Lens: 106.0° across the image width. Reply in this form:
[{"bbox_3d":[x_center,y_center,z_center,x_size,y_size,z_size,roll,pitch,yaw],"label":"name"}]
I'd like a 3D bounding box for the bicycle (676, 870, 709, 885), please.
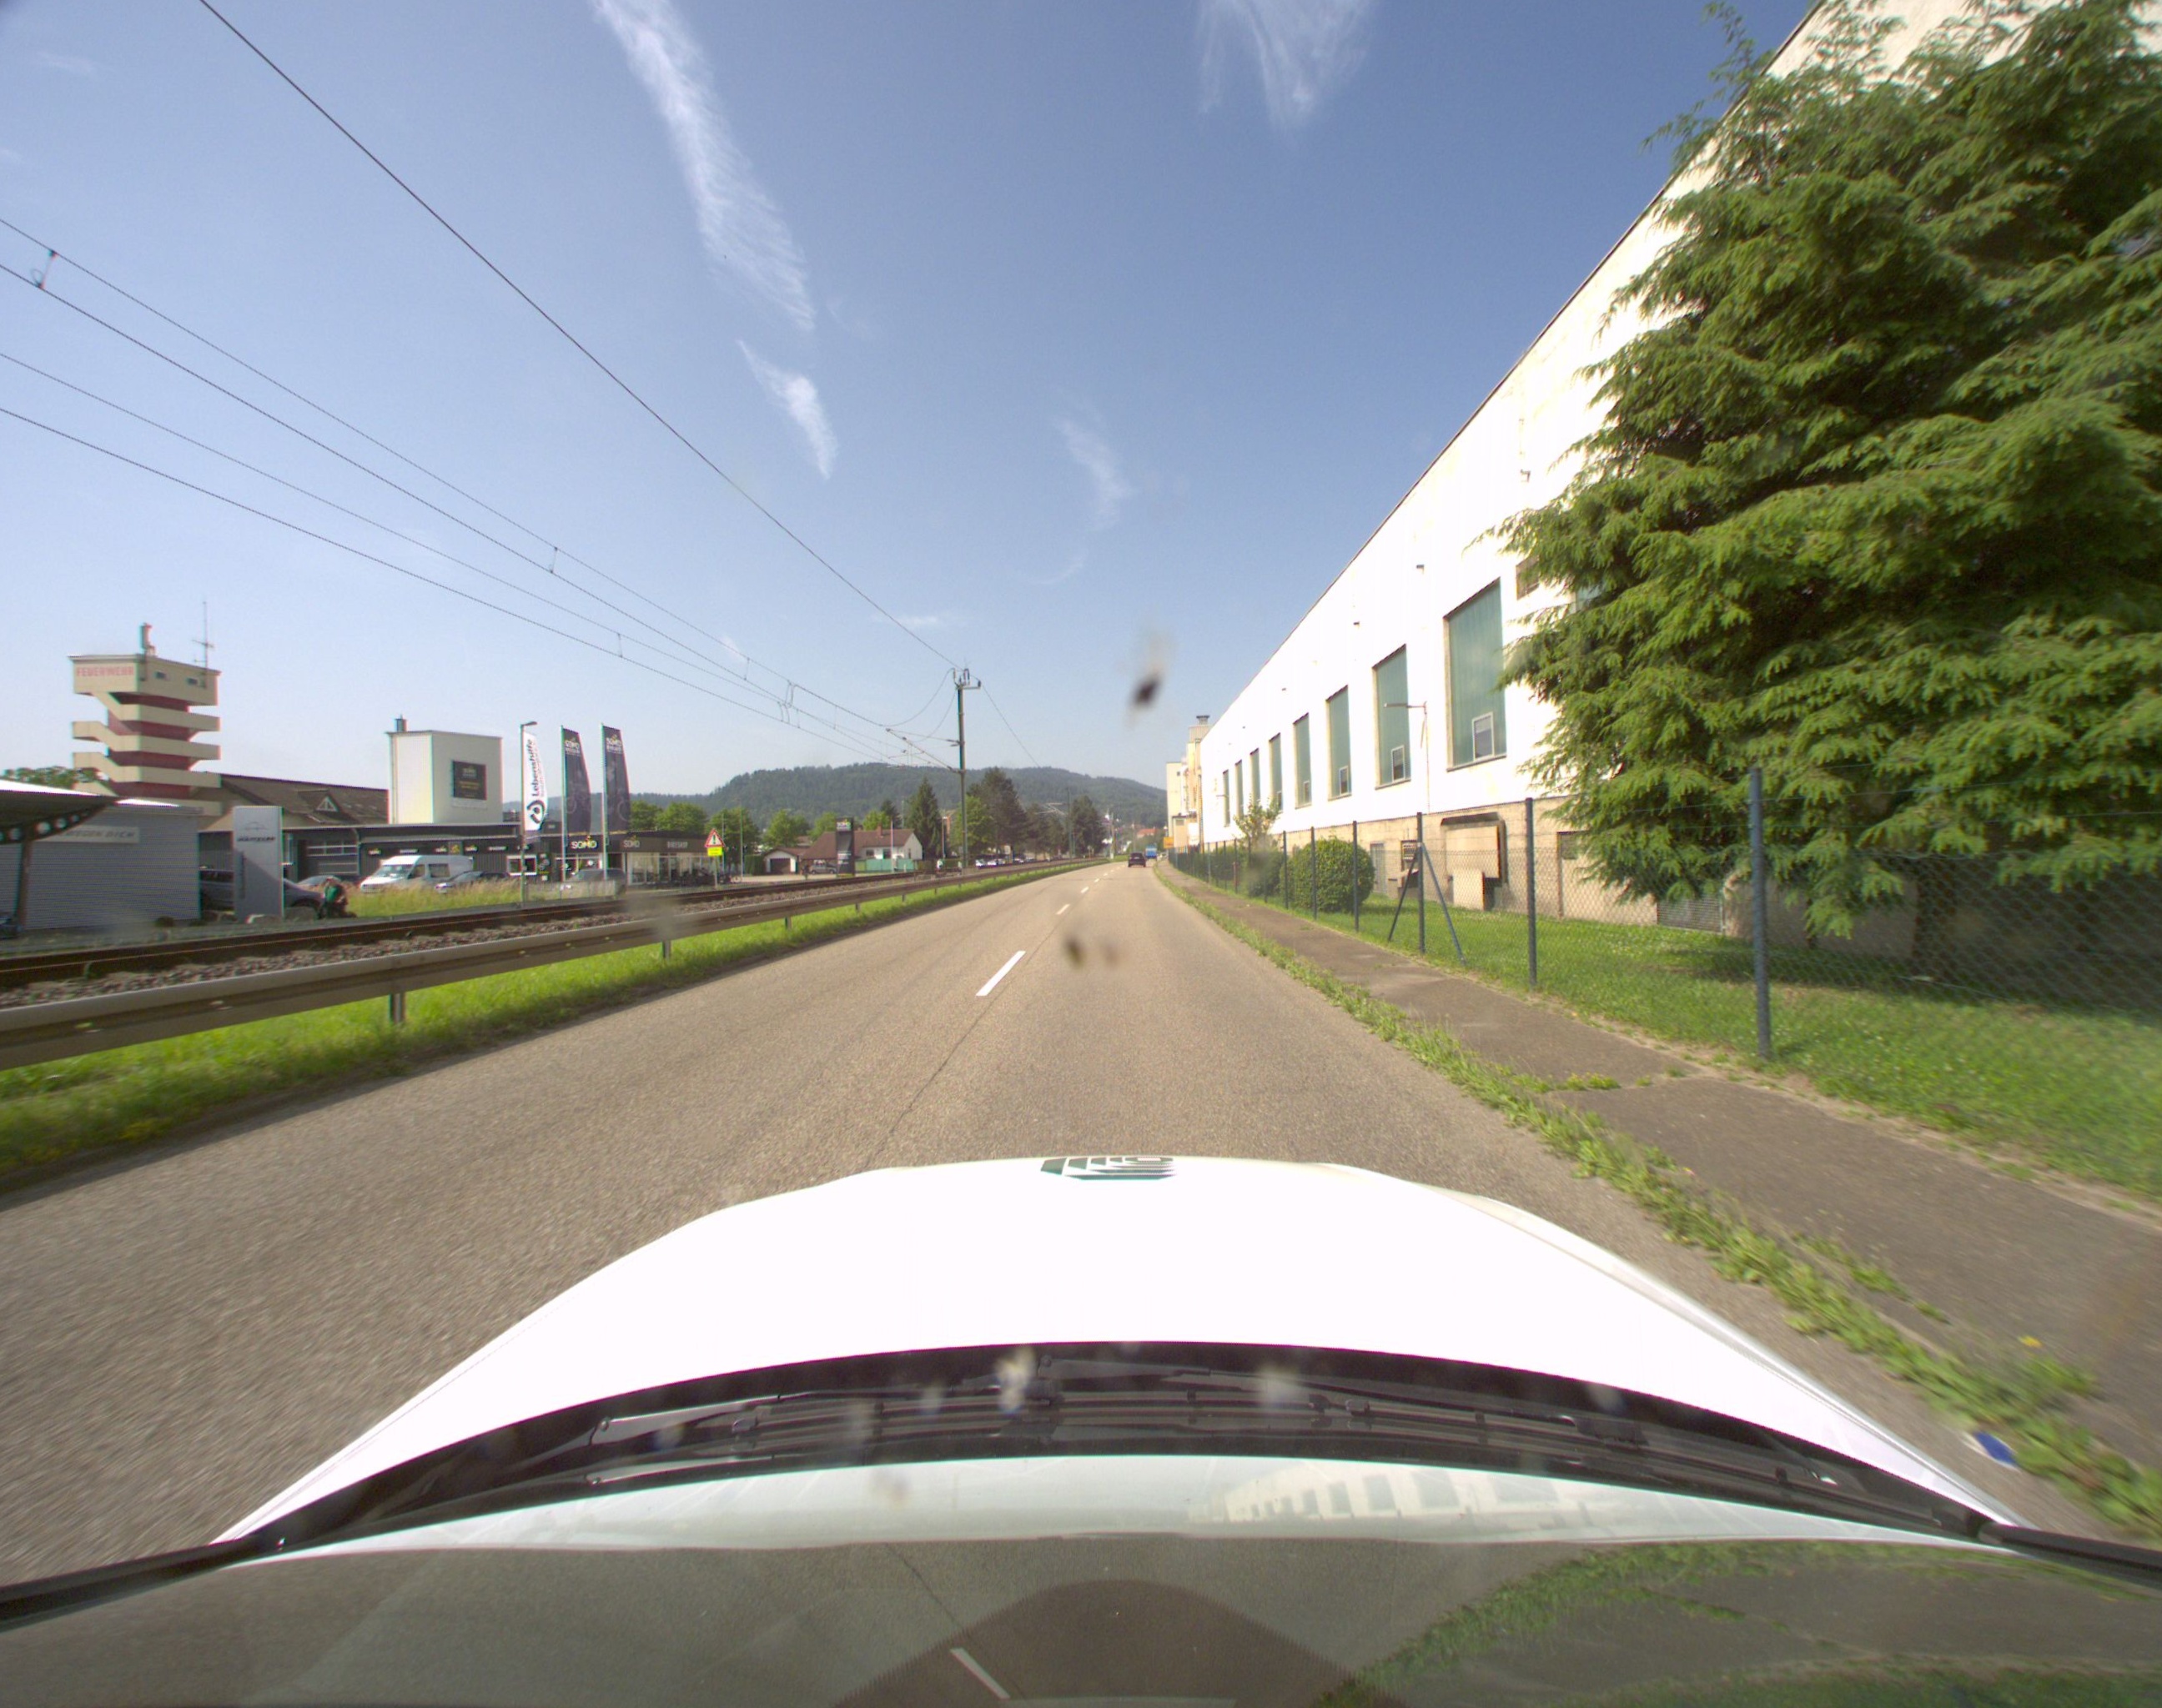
[{"bbox_3d":[-30.313,1.838,63.567,2.159,1.130,0.730,-2,-1,2],"label":"bicycle"}]

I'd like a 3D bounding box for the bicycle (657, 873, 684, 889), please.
[{"bbox_3d":[-30.616,1.989,60.777,0.724,1.130,2.177,-2,-1,5],"label":"bicycle"}]

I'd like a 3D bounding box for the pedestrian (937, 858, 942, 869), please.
[{"bbox_3d":[-17.901,1.176,103.021,0.572,1.332,0.673,-2,0,-2],"label":"pedestrian"}]

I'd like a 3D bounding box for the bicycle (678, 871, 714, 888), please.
[{"bbox_3d":[-28.818,1.892,60.963,0.721,1.130,2.337,-2,-1,37],"label":"bicycle"}]

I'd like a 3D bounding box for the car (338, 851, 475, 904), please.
[{"bbox_3d":[-36.868,1.315,44.844,2.365,2.633,6.160,-2,-2,1],"label":"car"}]

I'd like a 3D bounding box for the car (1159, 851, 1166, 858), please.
[{"bbox_3d":[22.501,0.084,225.258,1.657,1.823,3.760,-1,0,8],"label":"car"}]

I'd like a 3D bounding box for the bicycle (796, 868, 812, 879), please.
[{"bbox_3d":[-28.363,1.966,83.525,0.751,1.017,1.966,-2,0,6],"label":"bicycle"}]

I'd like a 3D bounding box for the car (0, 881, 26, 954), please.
[{"bbox_3d":[-26.786,1.464,17.999,1.642,1.622,4.055,1,0,44],"label":"car"}]

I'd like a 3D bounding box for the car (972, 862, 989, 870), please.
[{"bbox_3d":[-20.286,2.460,164.773,1.696,1.443,3.809,-2,-1,-37],"label":"car"}]

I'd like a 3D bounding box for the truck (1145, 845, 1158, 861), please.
[{"bbox_3d":[14.029,-0.247,161.832,2.301,2.970,5.974,-2,0,5],"label":"truck"}]

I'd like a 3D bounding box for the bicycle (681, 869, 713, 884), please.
[{"bbox_3d":[-30.412,1.755,64.529,2.165,1.130,0.728,-2,-1,-7],"label":"bicycle"}]

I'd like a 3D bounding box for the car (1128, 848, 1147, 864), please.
[{"bbox_3d":[6.033,0.223,87.399,1.911,1.640,4.004,-1,0,3],"label":"car"}]

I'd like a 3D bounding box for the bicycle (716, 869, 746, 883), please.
[{"bbox_3d":[-28.949,1.821,67.395,2.165,1.130,0.728,-2,-1,-7],"label":"bicycle"}]

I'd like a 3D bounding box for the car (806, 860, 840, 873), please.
[{"bbox_3d":[-34.224,1.644,108.182,3.817,1.651,1.715,-2,0,5],"label":"car"}]

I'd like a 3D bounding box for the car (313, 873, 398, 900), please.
[{"bbox_3d":[-41.440,1.817,46.613,1.508,1.357,3.524,-2,-1,3],"label":"car"}]

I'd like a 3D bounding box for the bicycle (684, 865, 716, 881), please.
[{"bbox_3d":[-30.505,1.524,65.305,2.165,1.130,0.728,-2,-1,-7],"label":"bicycle"}]

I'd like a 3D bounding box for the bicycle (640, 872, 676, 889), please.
[{"bbox_3d":[-30.254,1.907,58.255,2.159,1.130,0.730,-2,-1,2],"label":"bicycle"}]

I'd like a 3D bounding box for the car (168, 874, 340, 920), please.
[{"bbox_3d":[-29.606,1.553,29.330,4.014,1.530,1.508,4,-3,-33],"label":"car"}]

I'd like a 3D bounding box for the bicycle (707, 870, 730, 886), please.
[{"bbox_3d":[-28.497,1.882,64.030,0.725,1.130,2.175,-2,-1,1],"label":"bicycle"}]

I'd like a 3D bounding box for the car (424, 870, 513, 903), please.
[{"bbox_3d":[-33.590,1.768,44.812,1.861,1.664,3.999,-2,-1,0],"label":"car"}]

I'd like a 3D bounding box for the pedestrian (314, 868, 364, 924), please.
[{"bbox_3d":[-23.955,1.335,26.294,0.799,1.734,0.836,-2,0,0],"label":"pedestrian"}]

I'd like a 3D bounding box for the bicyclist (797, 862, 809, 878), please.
[{"bbox_3d":[-28.516,1.665,83.499,0.742,1.620,1.148,-2,0,7],"label":"bicyclist"}]
